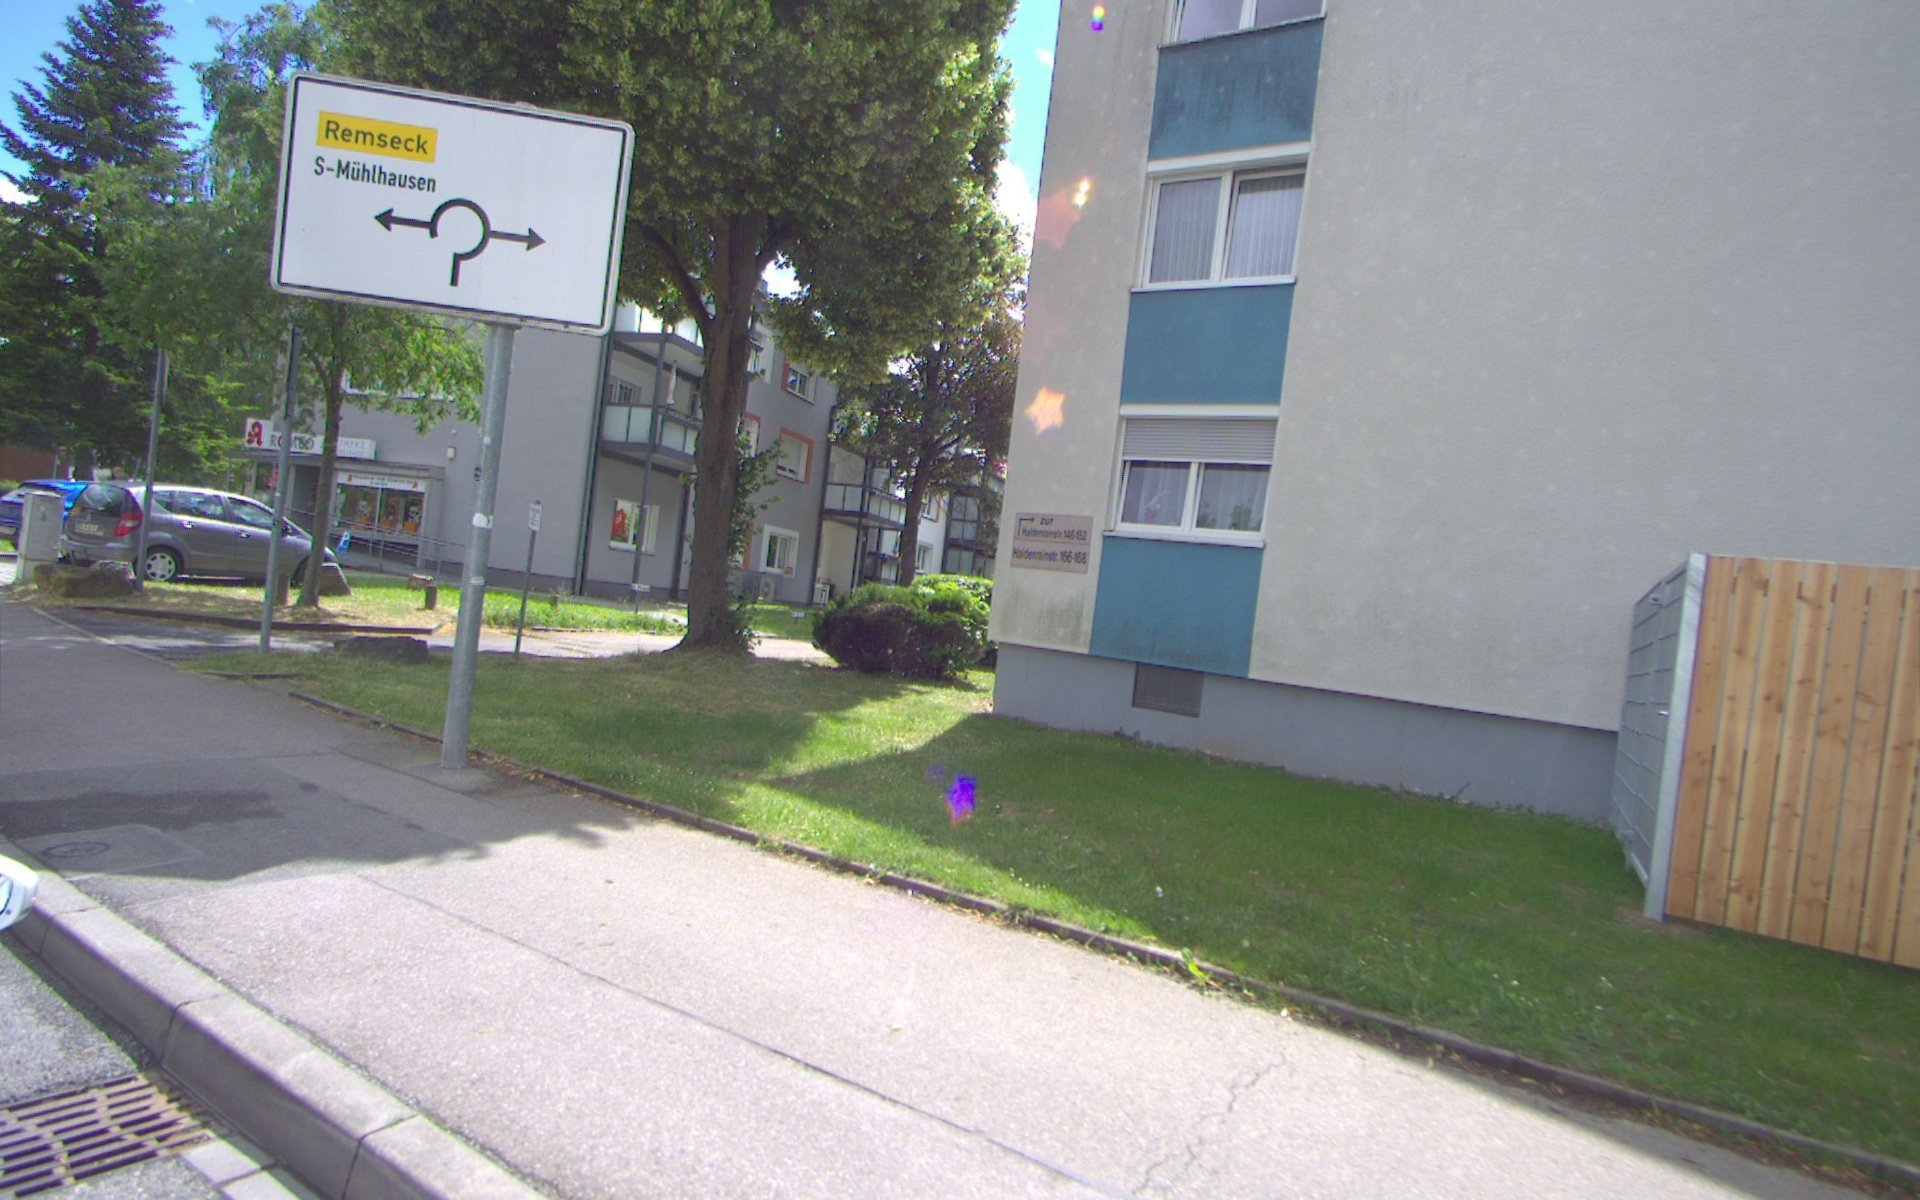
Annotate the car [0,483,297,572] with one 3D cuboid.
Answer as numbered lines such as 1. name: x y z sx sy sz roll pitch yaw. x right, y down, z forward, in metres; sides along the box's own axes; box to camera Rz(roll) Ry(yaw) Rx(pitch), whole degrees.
1. car: -15.488 -1.328 19.120 1.963 1.260 4.492 7 2 20

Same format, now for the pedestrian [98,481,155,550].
1. pedestrian: -20.270 -2.045 24.473 0.679 1.549 0.743 7 1 25

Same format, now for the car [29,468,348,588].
1. car: -12.876 -1.136 17.054 1.994 1.577 3.736 7 2 22

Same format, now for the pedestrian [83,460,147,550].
1. pedestrian: -20.787 -2.326 24.746 1.027 2.039 0.655 7 1 21
